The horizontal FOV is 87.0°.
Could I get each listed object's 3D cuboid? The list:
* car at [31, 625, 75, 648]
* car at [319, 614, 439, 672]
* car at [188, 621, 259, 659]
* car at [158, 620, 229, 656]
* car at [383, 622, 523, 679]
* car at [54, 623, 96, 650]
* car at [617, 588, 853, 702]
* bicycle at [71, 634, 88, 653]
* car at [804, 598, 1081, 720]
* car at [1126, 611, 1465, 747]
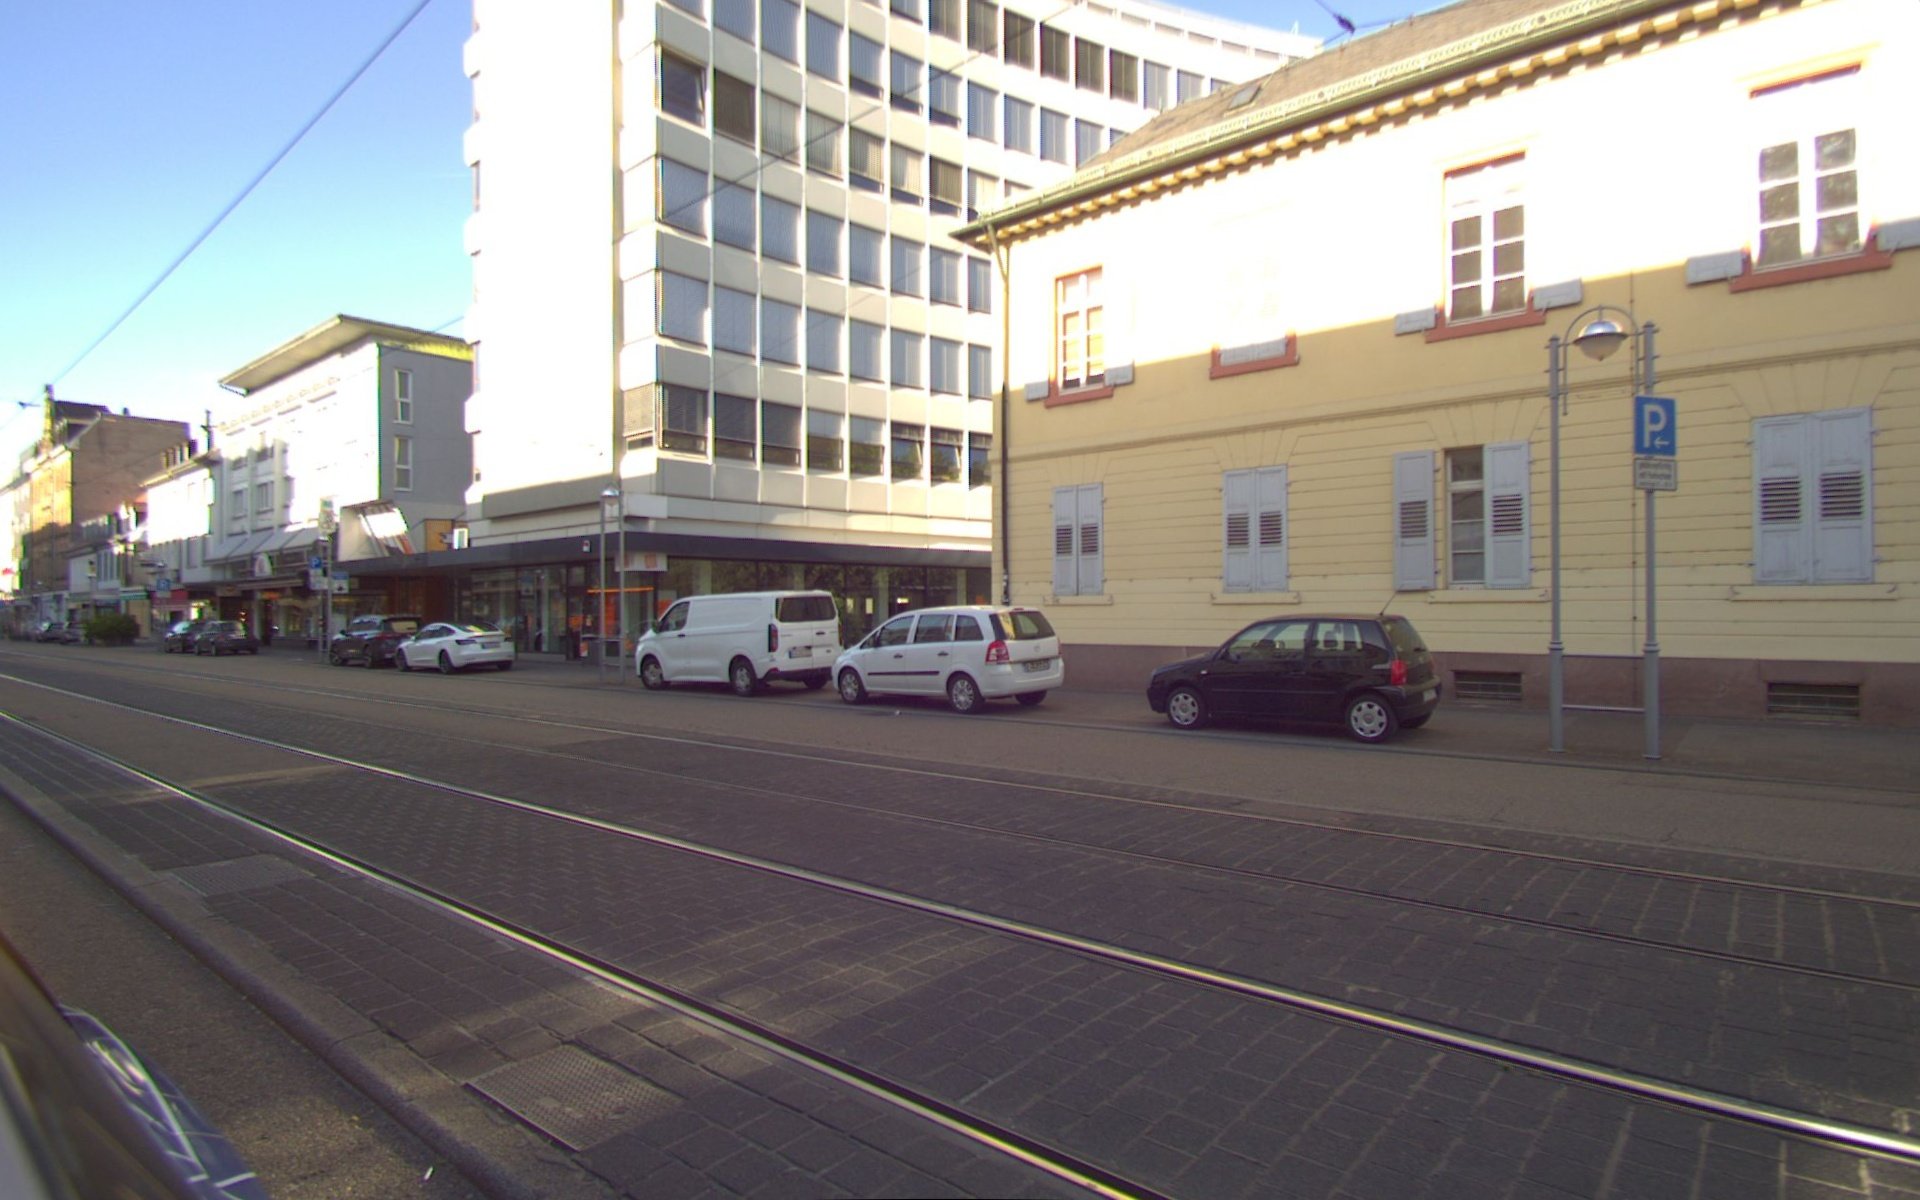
[{"bbox_3d":[-65.571,2.628,73.141,4.760,1.525,1.799,-1,0,41],"label":"car"},{"bbox_3d":[-18.892,1.337,32.829,4.653,1.691,1.958,-1,1,41],"label":"car"},{"bbox_3d":[-32.229,1.704,44.247,3.585,1.535,1.586,-1,1,38],"label":"car"},{"bbox_3d":[-36.669,1.789,48.368,4.849,1.535,1.719,-1,1,41],"label":"car"},{"bbox_3d":[-14.716,1.408,29.256,4.652,1.431,1.870,-1,1,39],"label":"car"},{"bbox_3d":[-58.582,2.394,67.013,2.889,1.616,1.680,-1,1,41],"label":"car"},{"bbox_3d":[-4.659,0.830,20.502,5.093,1.990,1.973,-1,1,40],"label":"car"},{"bbox_3d":[-53.688,2.642,61.678,1.715,1.098,0.513,-1,1,41],"label":"bicycle"},{"bbox_3d":[-0.419,0.869,16.801,4.649,1.698,1.788,-1,1,43],"label":"car"},{"bbox_3d":[4.127,0.881,12.745,3.717,1.411,1.598,-1,1,40],"label":"car"}]
